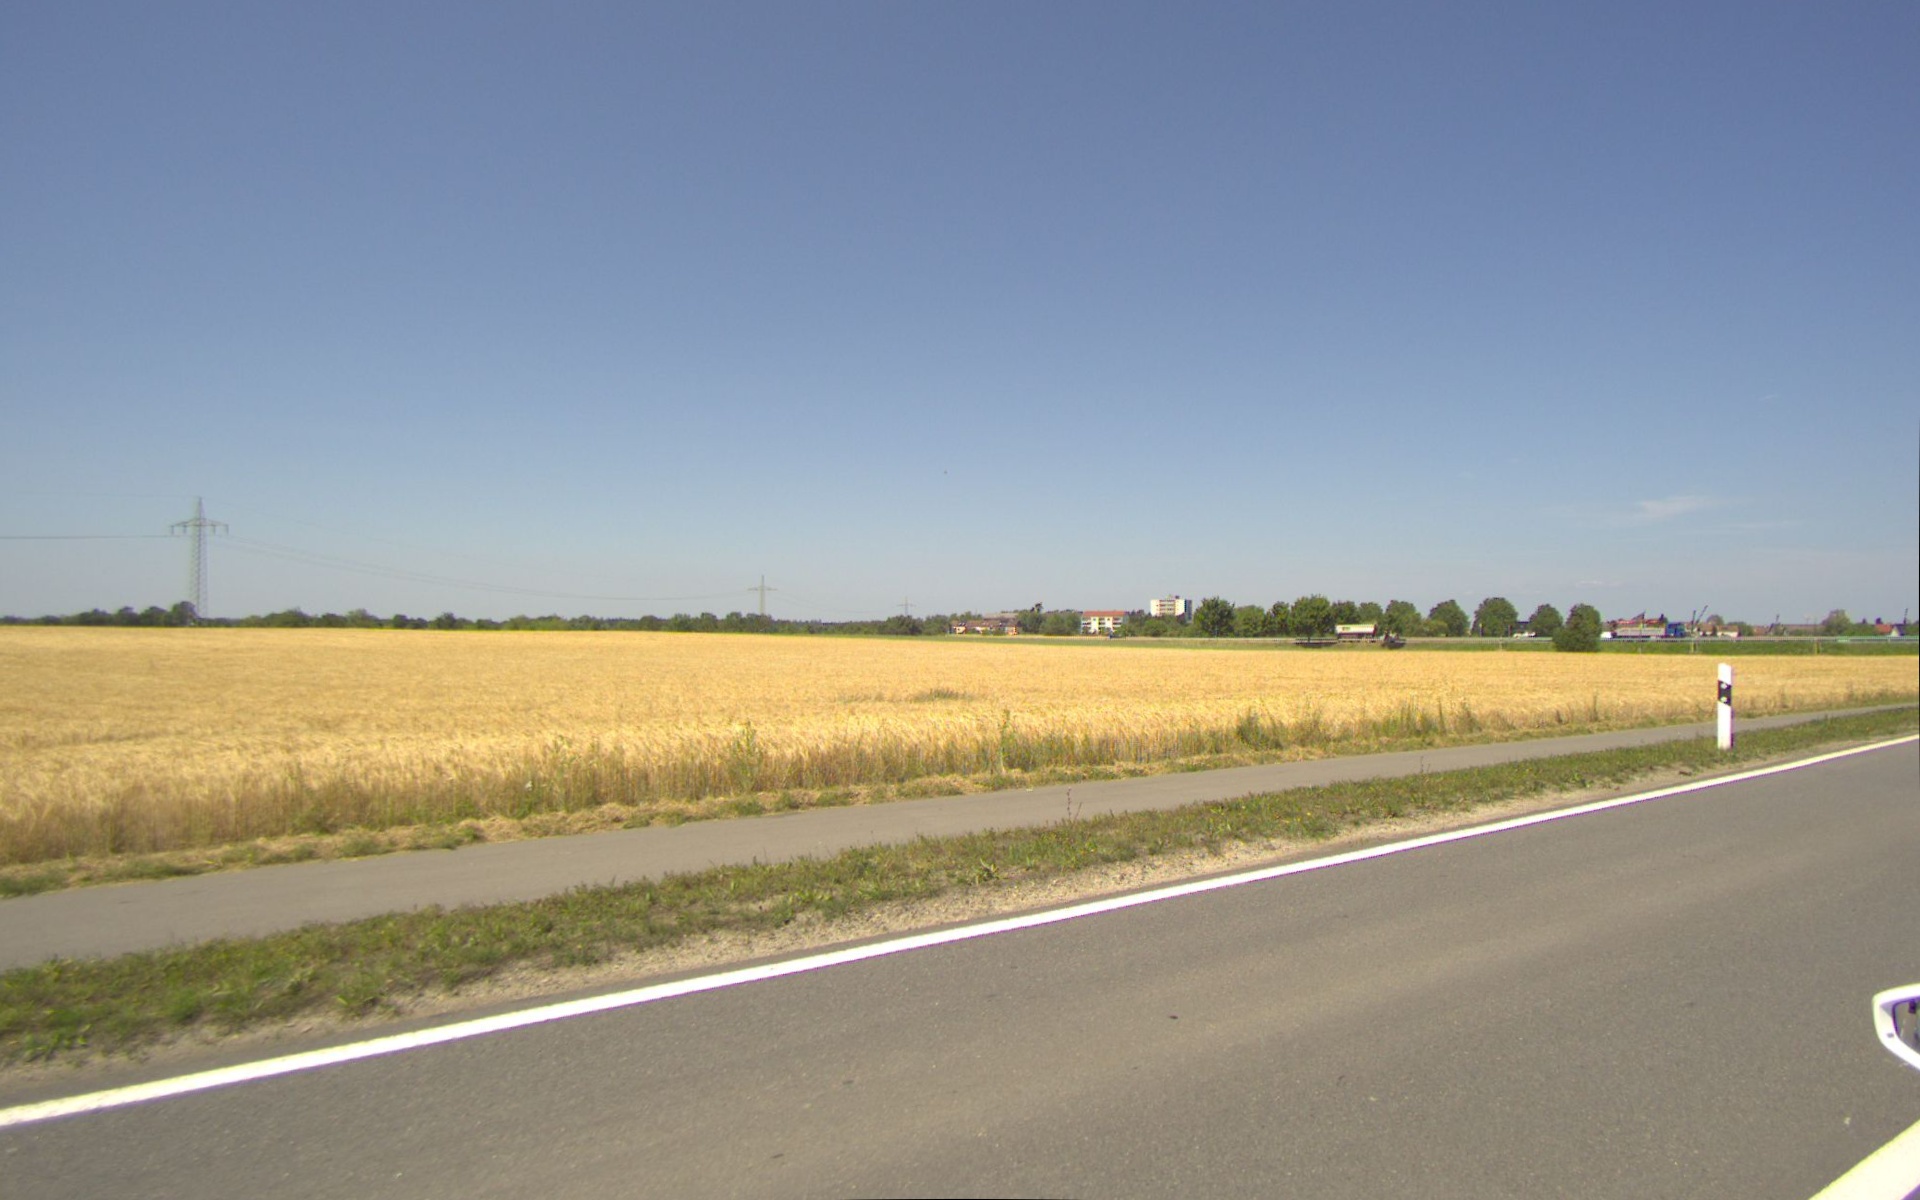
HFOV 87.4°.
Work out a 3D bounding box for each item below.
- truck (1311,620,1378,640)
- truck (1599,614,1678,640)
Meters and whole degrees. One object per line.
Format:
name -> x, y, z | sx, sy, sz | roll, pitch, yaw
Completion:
truck -> 74.119, 5.689, 193.927 | 11.855, 3.662, 2.967 | 0, -1, 42
truck -> 105.258, 4.196, 156.013 | 2.600, 3.844, 10.013 | 1, -1, -35
